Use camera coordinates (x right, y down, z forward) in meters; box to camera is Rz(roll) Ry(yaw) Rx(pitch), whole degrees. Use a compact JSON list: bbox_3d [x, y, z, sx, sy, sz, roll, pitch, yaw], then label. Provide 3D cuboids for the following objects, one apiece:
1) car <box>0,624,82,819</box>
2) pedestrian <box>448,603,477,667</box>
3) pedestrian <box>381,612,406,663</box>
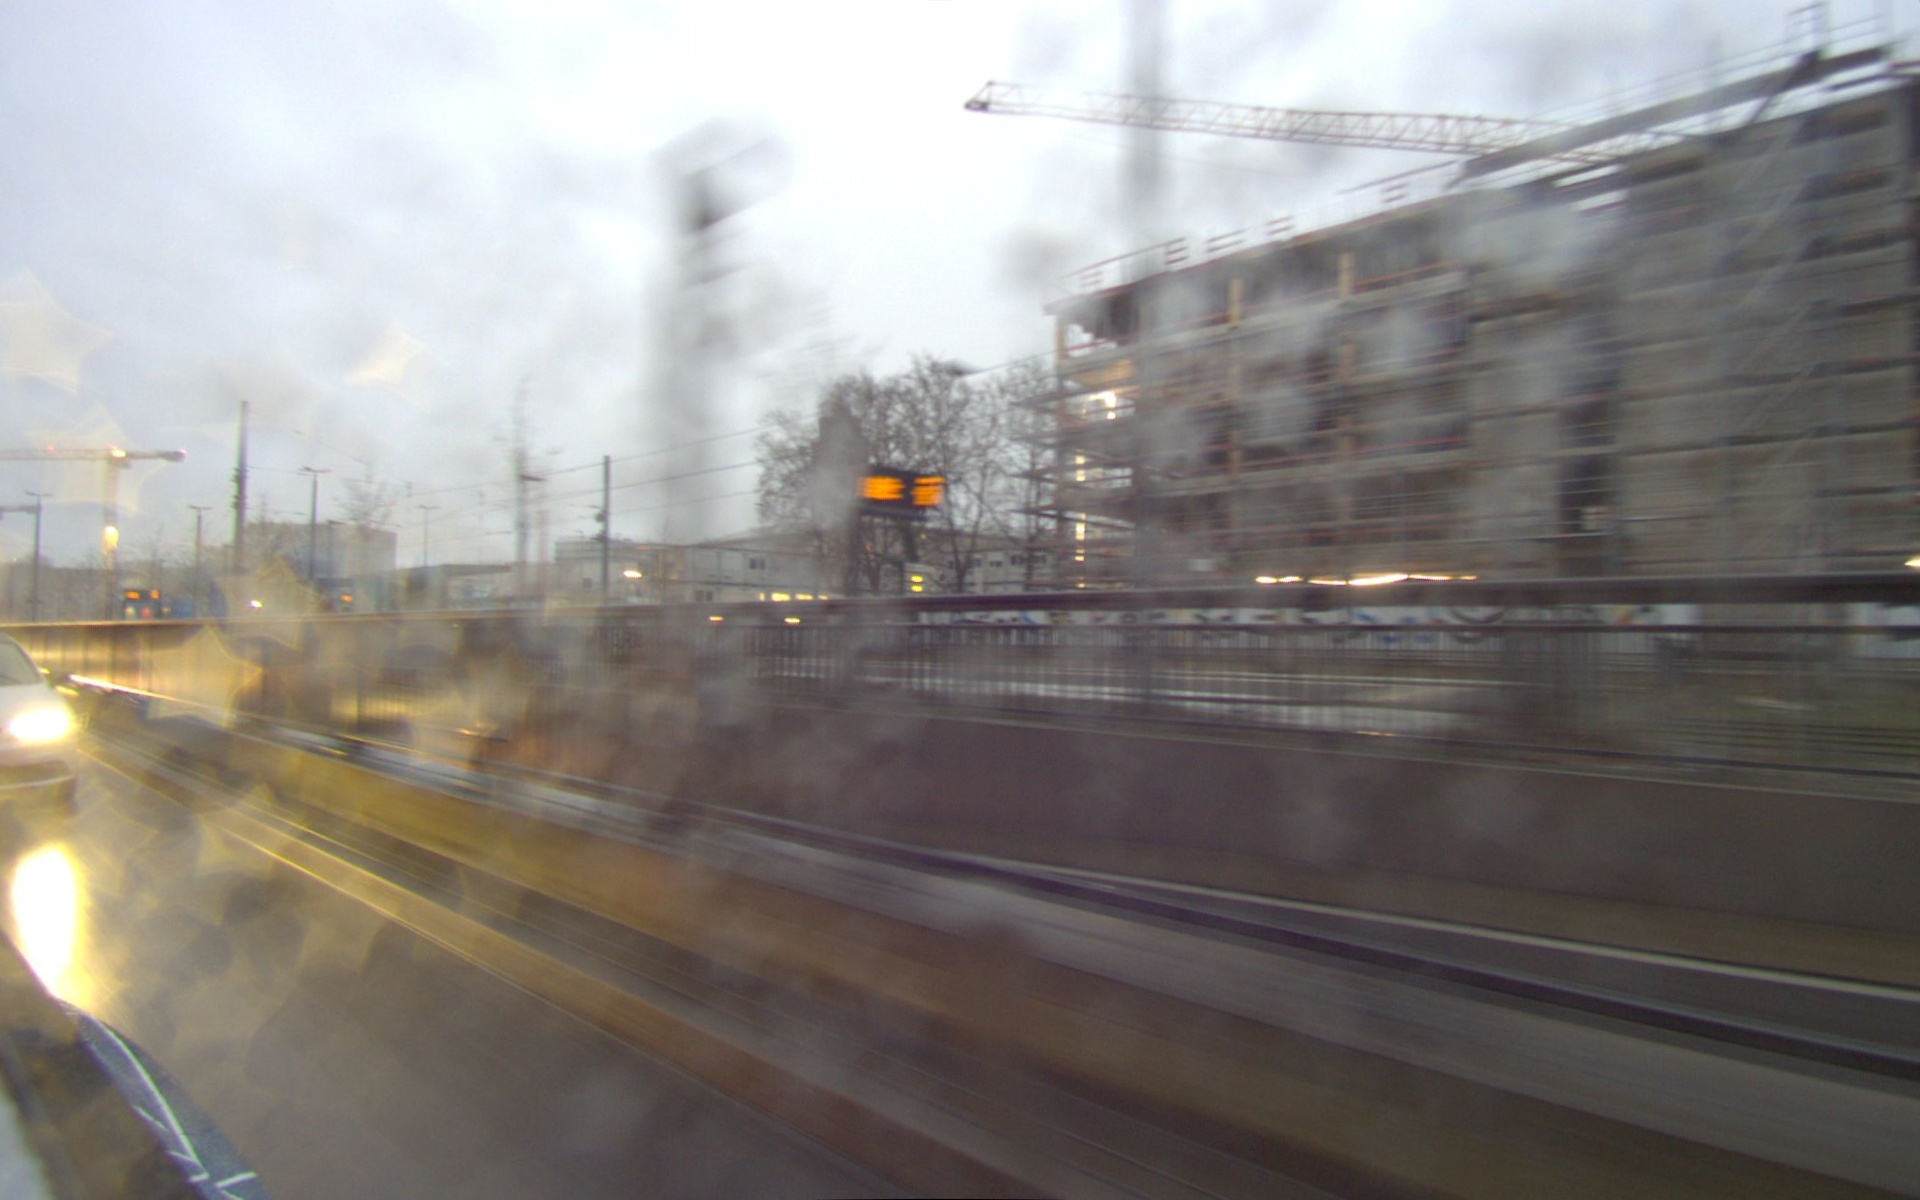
[{"bbox_3d":[-9.129,0.973,8.879,4.140,1.484,1.789,-2,-2,44],"label":"car"},{"bbox_3d":[-13.610,0.951,27.691,0.576,1.714,0.742,1,-2,-37],"label":"pedestrian"},{"bbox_3d":[-17.616,1.157,31.439,0.576,1.562,0.742,1,-2,-37],"label":"pedestrian"}]
